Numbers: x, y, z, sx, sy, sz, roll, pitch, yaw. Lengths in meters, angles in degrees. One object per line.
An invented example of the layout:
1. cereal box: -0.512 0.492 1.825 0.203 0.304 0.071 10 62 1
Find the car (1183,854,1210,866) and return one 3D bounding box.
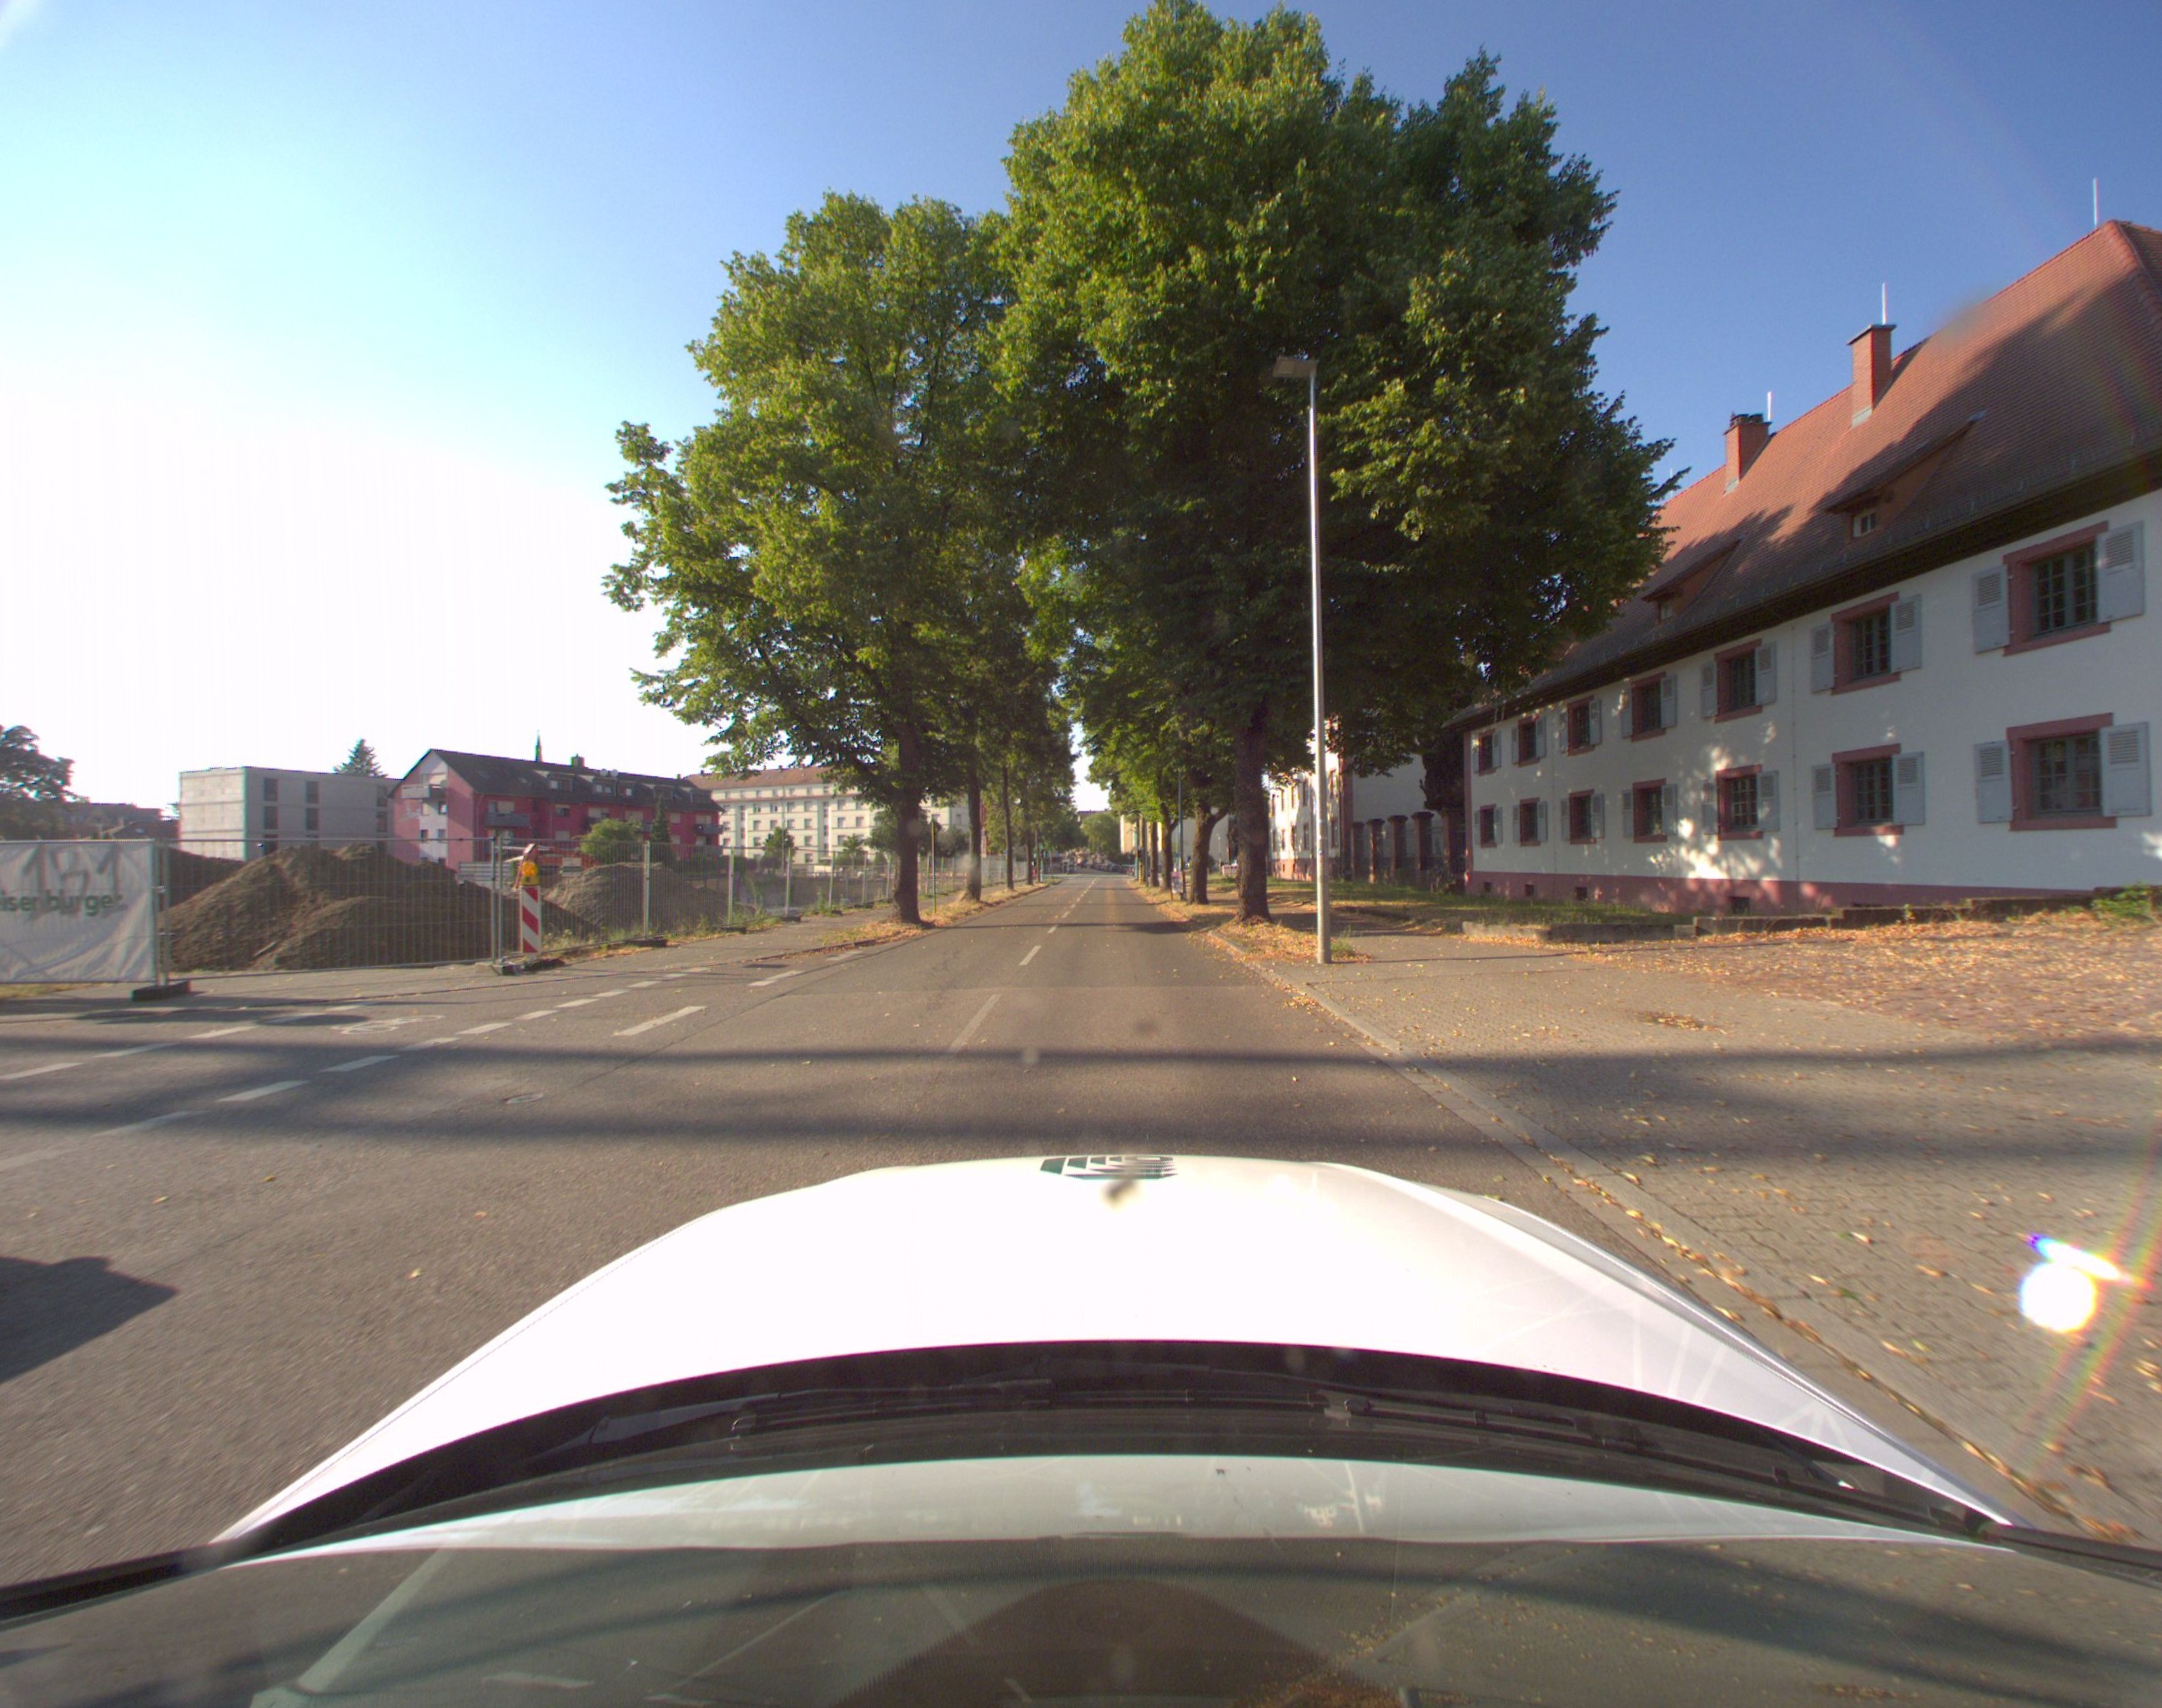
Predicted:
1. car: 18.147 0.936 128.147 3.971 1.728 1.774 1 -1 2

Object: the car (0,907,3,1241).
1. car: -6.747 0.997 2.888 3.827 1.473 1.652 -1 -1 3

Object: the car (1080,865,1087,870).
1. car: 0.679 4.049 239.428 1.709 1.486 3.996 -2 -2 -2

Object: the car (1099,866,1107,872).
1. car: 5.348 3.613 199.678 1.836 1.386 3.997 -1 -1 -2

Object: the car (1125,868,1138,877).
1. car: 8.142 2.941 131.081 1.835 1.261 4.001 -3 -1 1

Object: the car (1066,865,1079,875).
1. car: -1.541 2.777 143.264 1.990 1.688 3.994 -1 -2 -4

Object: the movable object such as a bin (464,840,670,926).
1. movable object such as a bin: -33.354 1.739 53.800 2.982 4.993 11.626 -4 -1 24

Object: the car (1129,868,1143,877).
1. car: 8.091 2.748 120.584 1.834 1.261 4.001 -1 -1 1

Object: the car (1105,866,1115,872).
1. car: 6.340 3.329 179.229 1.836 1.386 3.997 -1 -1 -2

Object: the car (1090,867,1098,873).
1. car: 3.602 4.549 229.095 1.837 1.386 3.994 -3 -1 -4

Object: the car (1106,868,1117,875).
1. car: 6.242 3.587 167.109 1.836 1.386 3.997 -1 -1 -2

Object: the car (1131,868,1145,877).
1. car: 8.050 2.635 114.892 1.773 1.227 4.001 -1 -1 1

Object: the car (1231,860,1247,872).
1. car: 22.268 1.674 115.140 1.804 1.559 3.629 1 -2 4

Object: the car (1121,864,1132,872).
1. car: 7.674 2.370 137.906 1.834 1.261 4.001 -1 -1 1

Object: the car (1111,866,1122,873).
1. car: 6.836 2.932 155.915 1.836 1.386 3.997 -2 -1 -2

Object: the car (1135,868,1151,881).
1. car: 7.851 2.589 103.838 1.834 1.574 4.001 -1 -1 1
